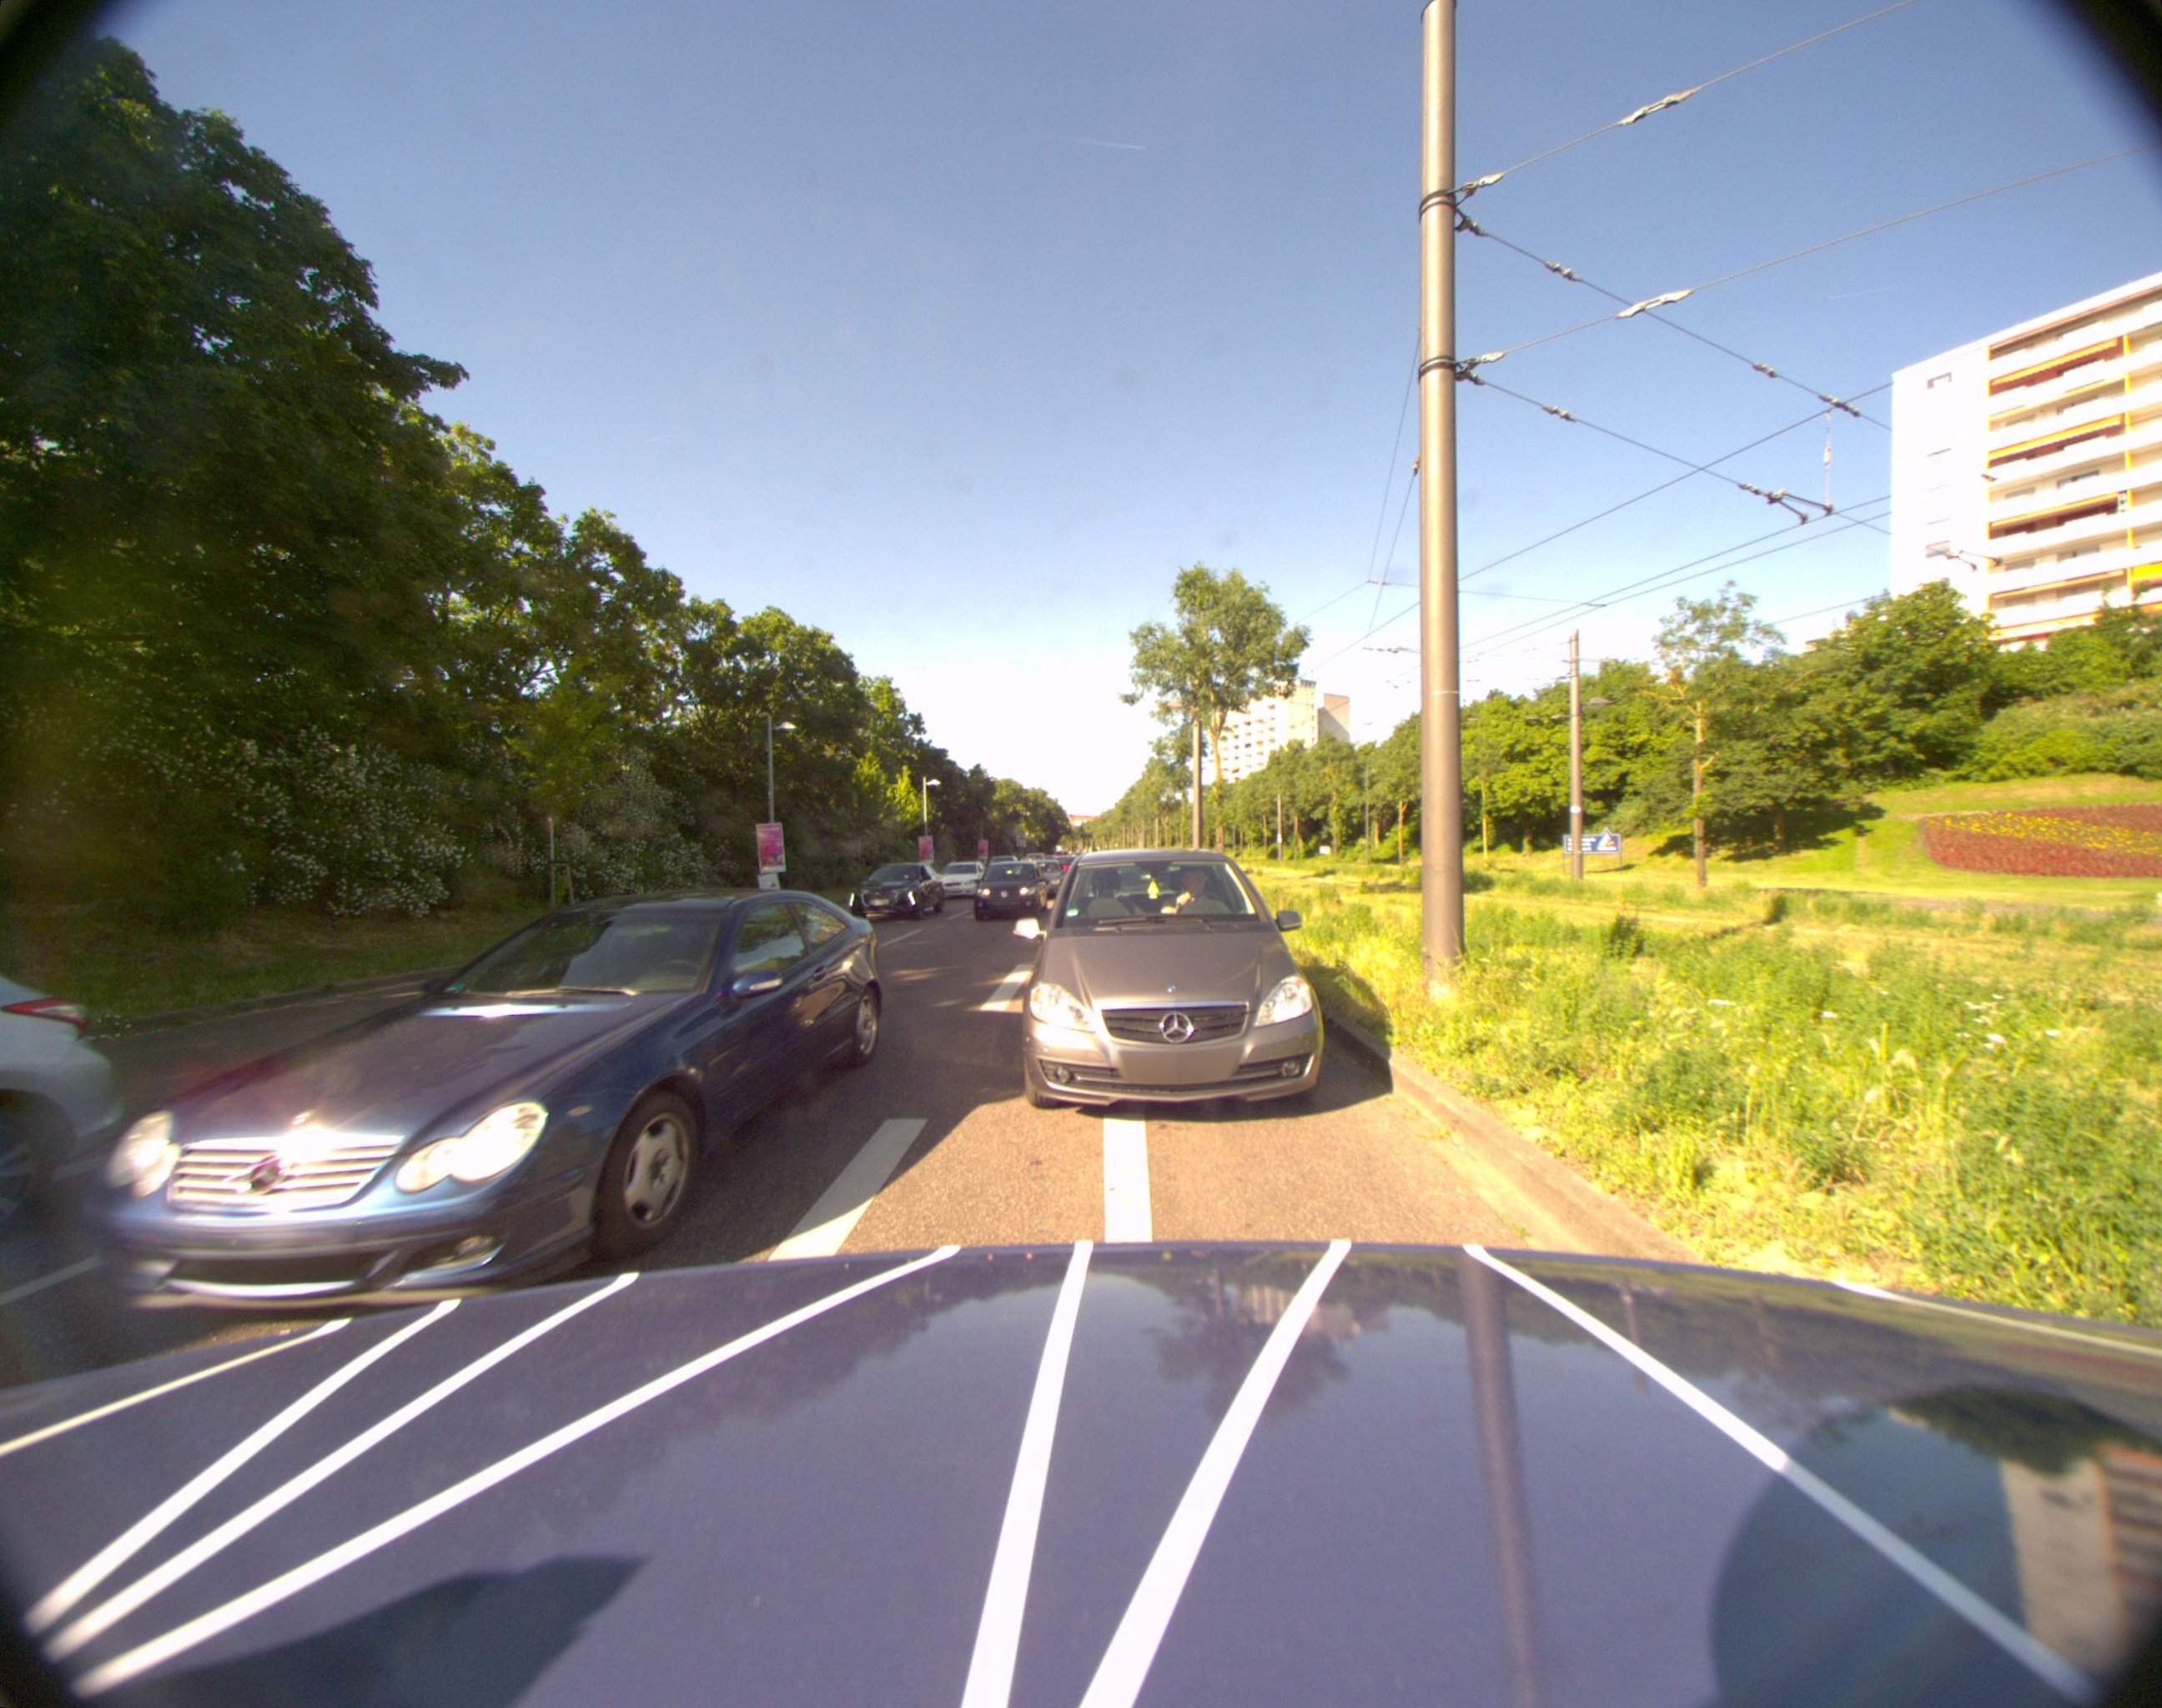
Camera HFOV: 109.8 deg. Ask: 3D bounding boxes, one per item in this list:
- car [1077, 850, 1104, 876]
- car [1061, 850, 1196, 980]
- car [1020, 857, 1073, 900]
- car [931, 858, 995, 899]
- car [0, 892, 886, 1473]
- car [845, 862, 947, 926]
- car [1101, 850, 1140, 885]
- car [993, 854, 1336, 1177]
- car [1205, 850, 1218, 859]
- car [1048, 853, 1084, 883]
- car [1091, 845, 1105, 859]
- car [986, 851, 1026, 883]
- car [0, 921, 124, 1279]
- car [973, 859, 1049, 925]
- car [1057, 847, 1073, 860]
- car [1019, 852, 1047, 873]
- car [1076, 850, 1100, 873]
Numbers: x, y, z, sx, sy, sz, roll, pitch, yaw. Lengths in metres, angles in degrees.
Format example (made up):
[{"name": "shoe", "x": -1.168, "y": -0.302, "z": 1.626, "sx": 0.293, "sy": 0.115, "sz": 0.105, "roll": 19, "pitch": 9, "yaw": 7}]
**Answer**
[{"name": "car", "x": 0.660, "y": 0.599, "z": 53.283, "sx": 1.749, "sy": 1.652, "sz": 3.999, "roll": -2, "pitch": 1, "yaw": 1}, {"name": "car", "x": 0.662, "y": 0.806, "z": 12.170, "sx": 1.749, "sy": 1.652, "sz": 3.999, "roll": -2, "pitch": 1, "yaw": 1}, {"name": "car", "x": -1.257, "y": 0.895, "z": 29.183, "sx": 1.713, "sy": 1.430, "sz": 4.171, "roll": -2, "pitch": 0, "yaw": 1}, {"name": "car", "x": -4.708, "y": 0.921, "z": 30.892, "sx": 1.749, "sy": 1.427, "sz": 4.386, "roll": -2, "pitch": 1, "yaw": 2}, {"name": "car", "x": -2.501, "y": 1.049, "z": 4.188, "sx": 1.723, "sy": 1.411, "sz": 4.050, "roll": -1, "pitch": 0, "yaw": 1}, {"name": "car", "x": -4.974, "y": 1.029, "z": 20.942, "sx": 1.713, "sy": 1.485, "sz": 3.963, "roll": -2, "pitch": 0, "yaw": 1}, {"name": "car", "x": 1.923, "y": 0.629, "z": 37.947, "sx": 1.749, "sy": 1.652, "sz": 4.000, "roll": -1, "pitch": 0, "yaw": 1}, {"name": "car", "x": 0.470, "y": 0.857, "z": 6.015, "sx": 1.749, "sy": 1.630, "sz": 4.000, "roll": -2, "pitch": 0, "yaw": 1}, {"name": "car", "x": 22.048, "y": 0.077, "z": 128.288, "sx": 1.578, "sy": 1.412, "sz": 3.909, "roll": -2, "pitch": 0, "yaw": 1}, {"name": "car", "x": -0.768, "y": 0.738, "z": 41.497, "sx": 1.685, "sy": 1.437, "sz": 3.727, "roll": -2, "pitch": 1, "yaw": 2}, {"name": "car", "x": 1.980, "y": -0.206, "z": 89.743, "sx": 1.630, "sy": 1.556, "sz": 3.812, "roll": -2, "pitch": 1, "yaw": 1}, {"name": "car", "x": -4.156, "y": 0.687, "z": 42.655, "sx": 1.749, "sy": 1.652, "sz": 4.000, "roll": -1, "pitch": 0, "yaw": 1}, {"name": "car", "x": -5.612, "y": 1.116, "z": 1.634, "sx": 1.725, "sy": 1.508, "sz": 4.138, "roll": -2, "pitch": 0, "yaw": 2}, {"name": "car", "x": -1.774, "y": 0.933, "z": 20.204, "sx": 1.621, "sy": 1.485, "sz": 3.452, "roll": -3, "pitch": 1, "yaw": 0}, {"name": "car", "x": -1.918, "y": -0.049, "z": 90.887, "sx": 1.713, "sy": 1.485, "sz": 3.963, "roll": -2, "pitch": 0, "yaw": 1}, {"name": "car", "x": -3.538, "y": 0.597, "z": 56.904, "sx": 1.713, "sy": 1.485, "sz": 3.963, "roll": -2, "pitch": 0, "yaw": 1}, {"name": "car", "x": 0.532, "y": 0.544, "z": 59.896, "sx": 1.749, "sy": 1.652, "sz": 3.999, "roll": -2, "pitch": 1, "yaw": 1}]
